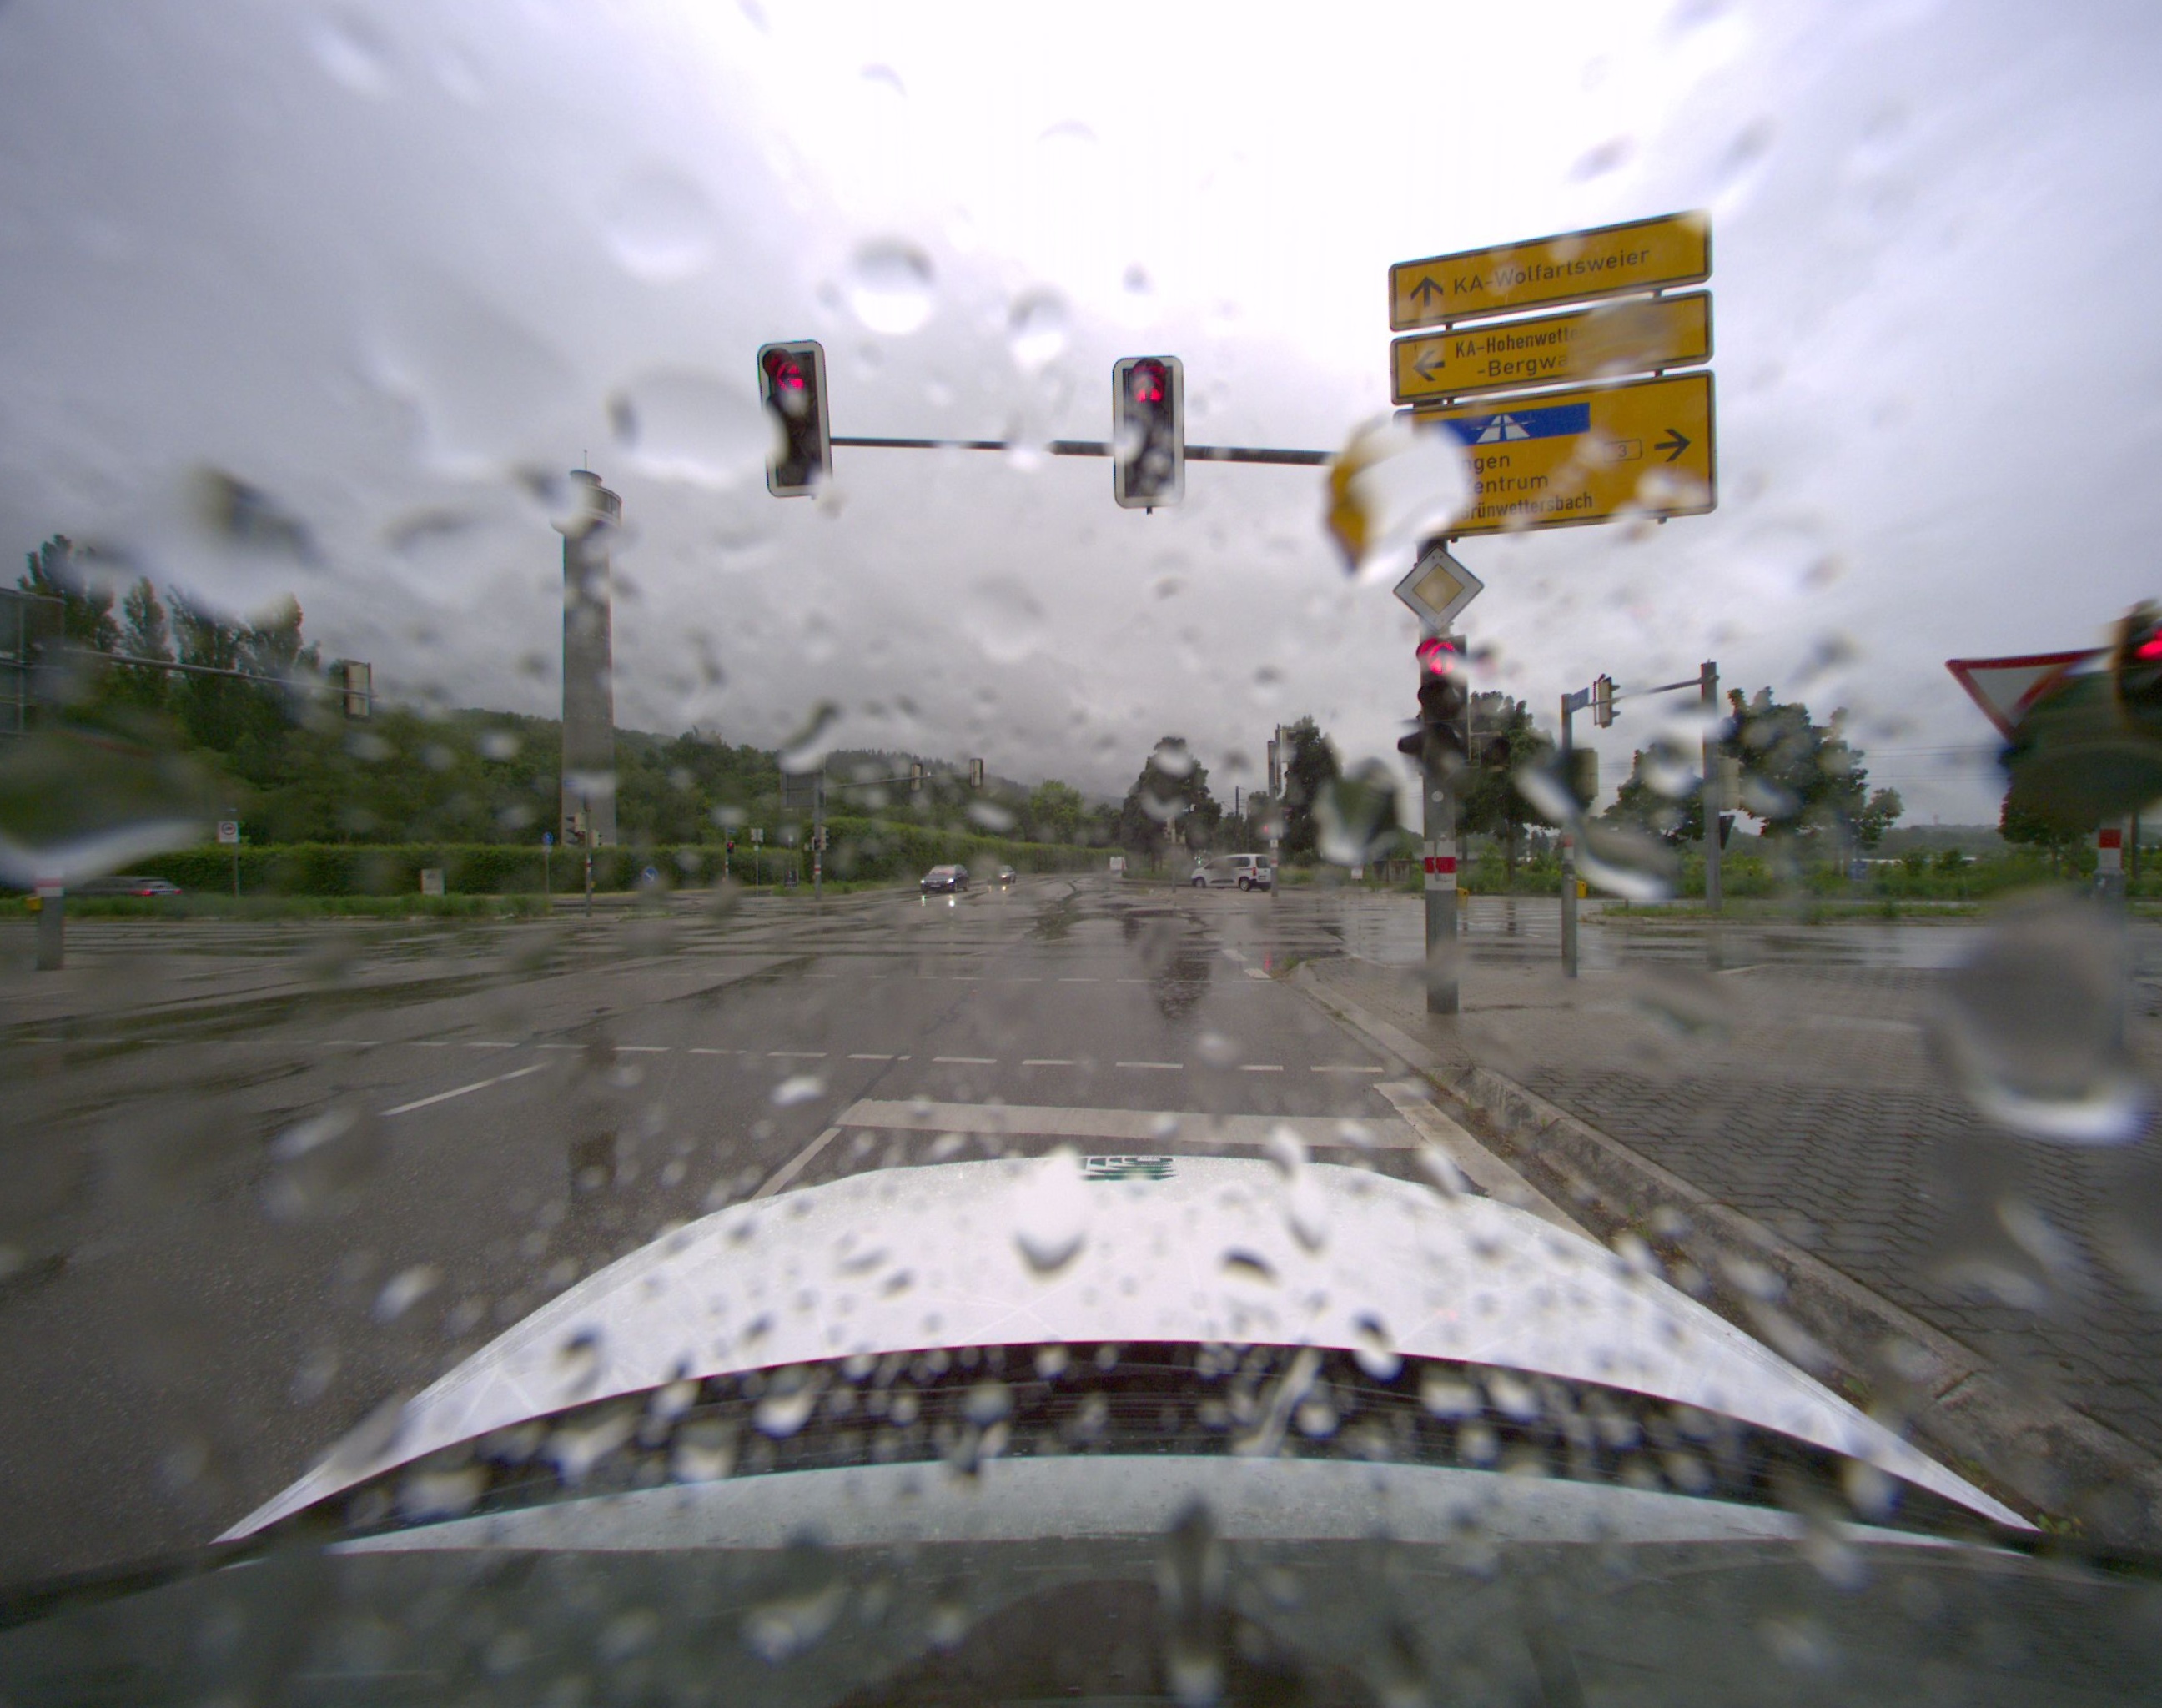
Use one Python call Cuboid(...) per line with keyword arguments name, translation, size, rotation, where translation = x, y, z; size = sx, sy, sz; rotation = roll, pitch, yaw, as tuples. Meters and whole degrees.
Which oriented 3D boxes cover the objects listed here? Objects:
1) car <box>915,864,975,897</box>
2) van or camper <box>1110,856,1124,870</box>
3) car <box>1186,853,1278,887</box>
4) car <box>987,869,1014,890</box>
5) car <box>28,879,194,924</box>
Cuboid(name="car", translation=(-7.248, 1.374, 43.949), size=(1.869, 1.573, 4.654), rotation=(-3, -1, 7))
Cuboid(name="van or camper", translation=(5.634, 1.409, 127.914), size=(2.145, 2.169, 4.867), rotation=(-1, 0, 2))
Cuboid(name="car", translation=(7.513, 0.794, 40.772), size=(1.832, 1.553, 4.297), rotation=(-1, 0, -40))
Cuboid(name="car", translation=(-6.095, 1.884, 61.608), size=(1.552, 1.481, 3.363), rotation=(-1, 0, 2))
Cuboid(name="car", translation=(-37.421, 1.804, 31.464), size=(4.644, 1.553, 1.826), rotation=(-1, 0, 7))
